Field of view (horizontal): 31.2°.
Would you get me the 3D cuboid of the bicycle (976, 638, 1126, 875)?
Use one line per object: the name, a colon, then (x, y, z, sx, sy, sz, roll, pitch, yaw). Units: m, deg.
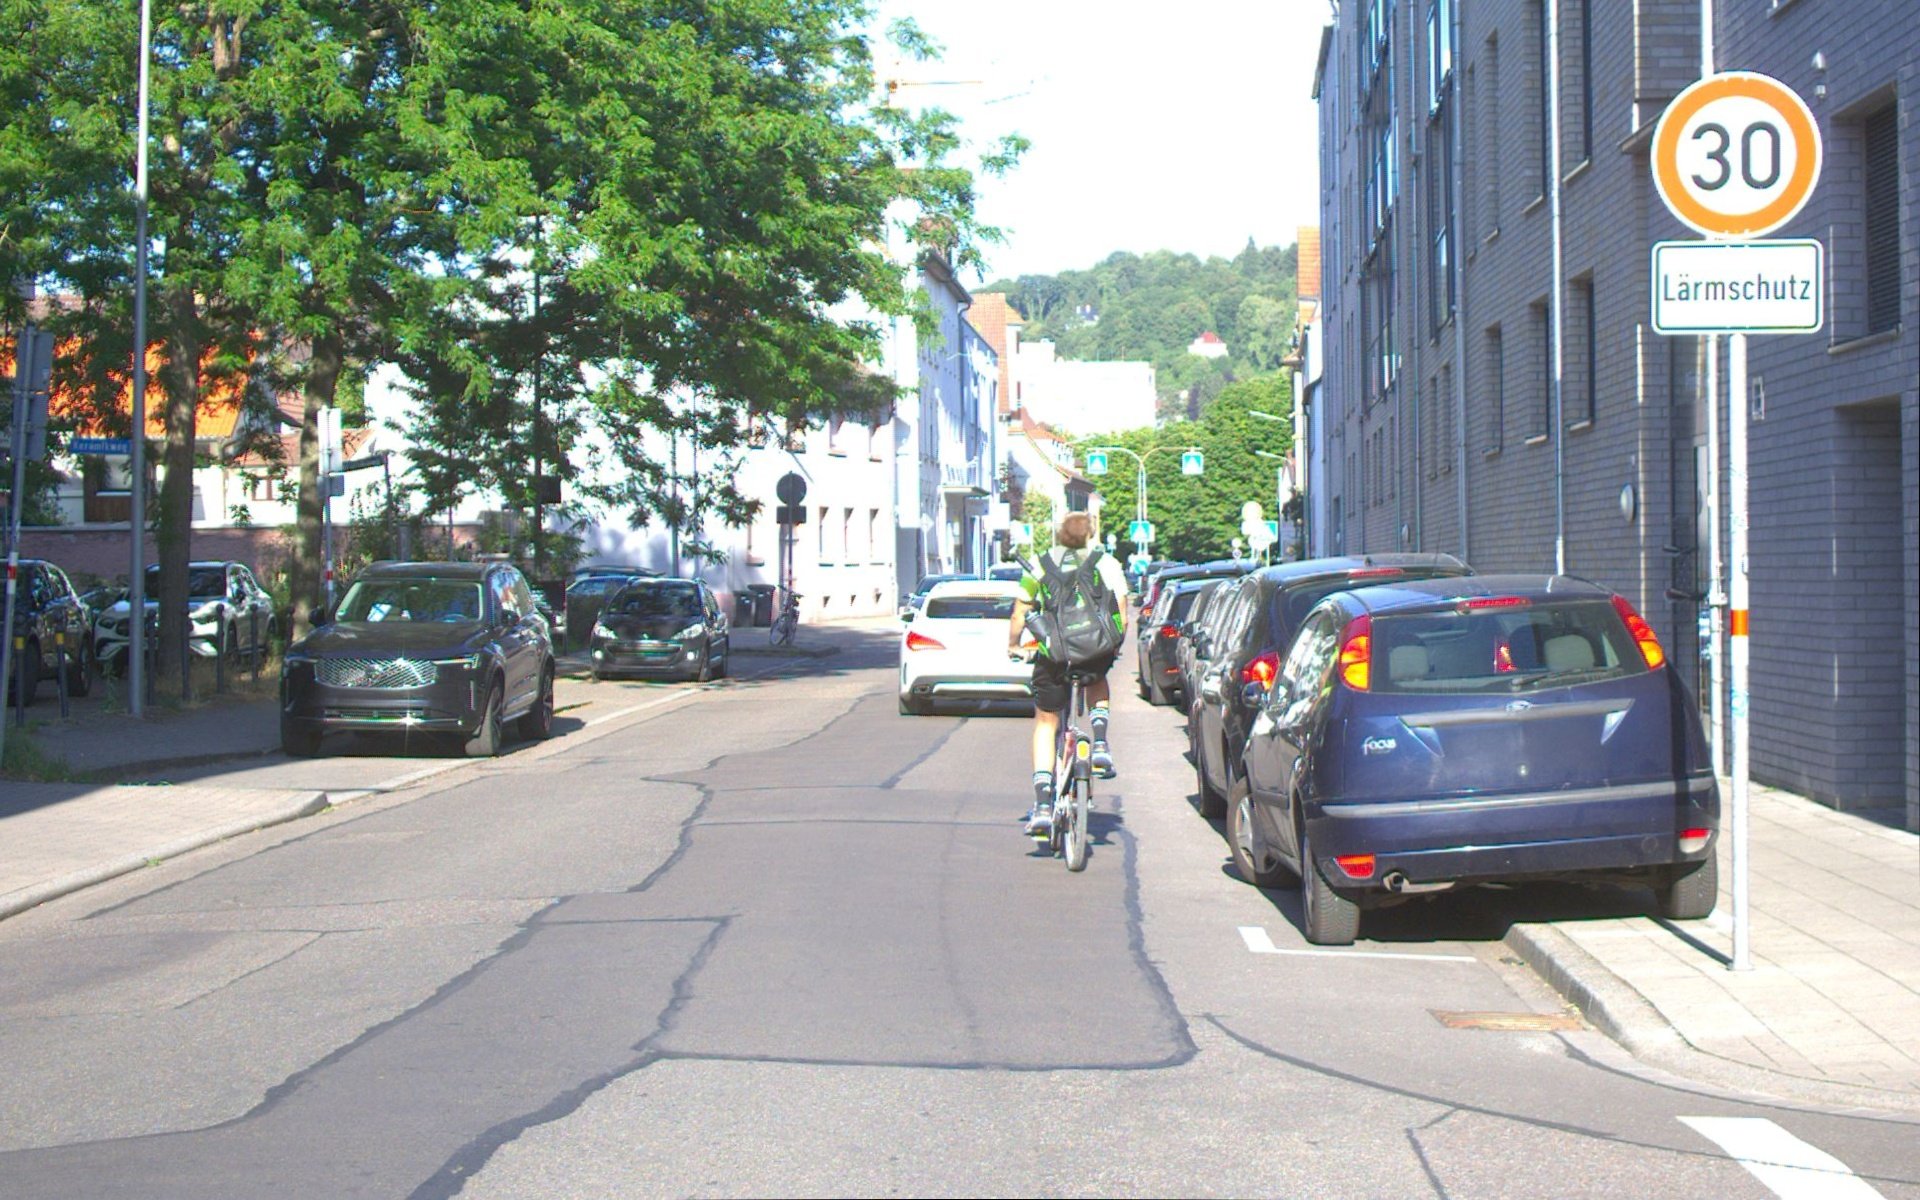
bicycle: (0.464, 0.773, 17.893, 0.698, 1.126, 2.402, 1, 0, 1)

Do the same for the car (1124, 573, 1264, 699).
car: (3.379, 0.514, 50.385, 1.858, 1.696, 4.621, -2, 0, 2)

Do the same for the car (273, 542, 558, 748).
car: (-5.102, 0.387, 32.809, 1.853, 1.785, 4.607, 1, 0, 1)

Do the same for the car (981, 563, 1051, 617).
car: (1.779, -0.311, 107.180, 1.945, 1.581, 4.621, -2, 0, 3)

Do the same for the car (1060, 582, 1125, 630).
car: (4.624, 0.218, 119.602, 1.945, 1.581, 4.620, -2, 0, 5)

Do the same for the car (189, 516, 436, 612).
car: (-11.326, -0.630, 60.278, 3.902, 1.570, 1.709, 1, 0, 6)

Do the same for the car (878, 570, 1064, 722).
car: (0.076, 0.479, 36.785, 1.842, 1.486, 4.144, 1, 0, -1)

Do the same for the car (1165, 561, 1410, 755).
car: (2.869, 0.483, 30.969, 1.858, 1.581, 4.621, 1, 0, 2)

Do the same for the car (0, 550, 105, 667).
car: (-13.798, 0.090, 49.812, 1.857, 1.581, 3.671, 3, 0, -1)

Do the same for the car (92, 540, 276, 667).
car: (-11.210, 0.031, 49.895, 1.790, 1.684, 3.965, 3, 0, -1)

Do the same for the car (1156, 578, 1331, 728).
car: (2.924, 0.535, 35.996, 1.508, 1.439, 3.529, -2, 0, 0)

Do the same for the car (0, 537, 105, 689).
car: (-11.058, 0.083, 38.688, 1.857, 1.581, 4.622, 3, 0, -3)

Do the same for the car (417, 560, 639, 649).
car: (-8.190, 0.084, 65.374, 3.901, 1.570, 1.709, 1, 0, 3)

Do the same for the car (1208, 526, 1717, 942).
car: (2.125, 0.534, 15.566, 1.629, 1.581, 4.069, -2, 0, 0)

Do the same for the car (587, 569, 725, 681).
car: (-4.493, 0.343, 51.276, 1.704, 1.570, 3.914, 1, 0, 0)

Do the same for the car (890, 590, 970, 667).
car: (-0.642, 0.592, 74.283, 1.664, 1.570, 3.914, 1, 0, 0)

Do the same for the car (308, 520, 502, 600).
car: (-11.576, -0.833, 71.887, 3.900, 1.570, 1.710, 1, 0, -7)

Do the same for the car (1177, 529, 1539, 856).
car: (2.234, 0.482, 20.189, 1.664, 1.696, 3.914, 1, 0, 0)

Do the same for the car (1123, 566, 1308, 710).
car: (3.013, 0.438, 41.364, 1.857, 1.581, 4.621, -2, 0, 0)

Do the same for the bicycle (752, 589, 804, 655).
bicycle: (-3.497, 0.414, 66.226, 0.835, 1.213, 2.842, 1, 0, 0)

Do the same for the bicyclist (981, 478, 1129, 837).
bicyclist: (0.485, 0.291, 17.730, 0.698, 1.784, 1.040, 1, -1, 1)
